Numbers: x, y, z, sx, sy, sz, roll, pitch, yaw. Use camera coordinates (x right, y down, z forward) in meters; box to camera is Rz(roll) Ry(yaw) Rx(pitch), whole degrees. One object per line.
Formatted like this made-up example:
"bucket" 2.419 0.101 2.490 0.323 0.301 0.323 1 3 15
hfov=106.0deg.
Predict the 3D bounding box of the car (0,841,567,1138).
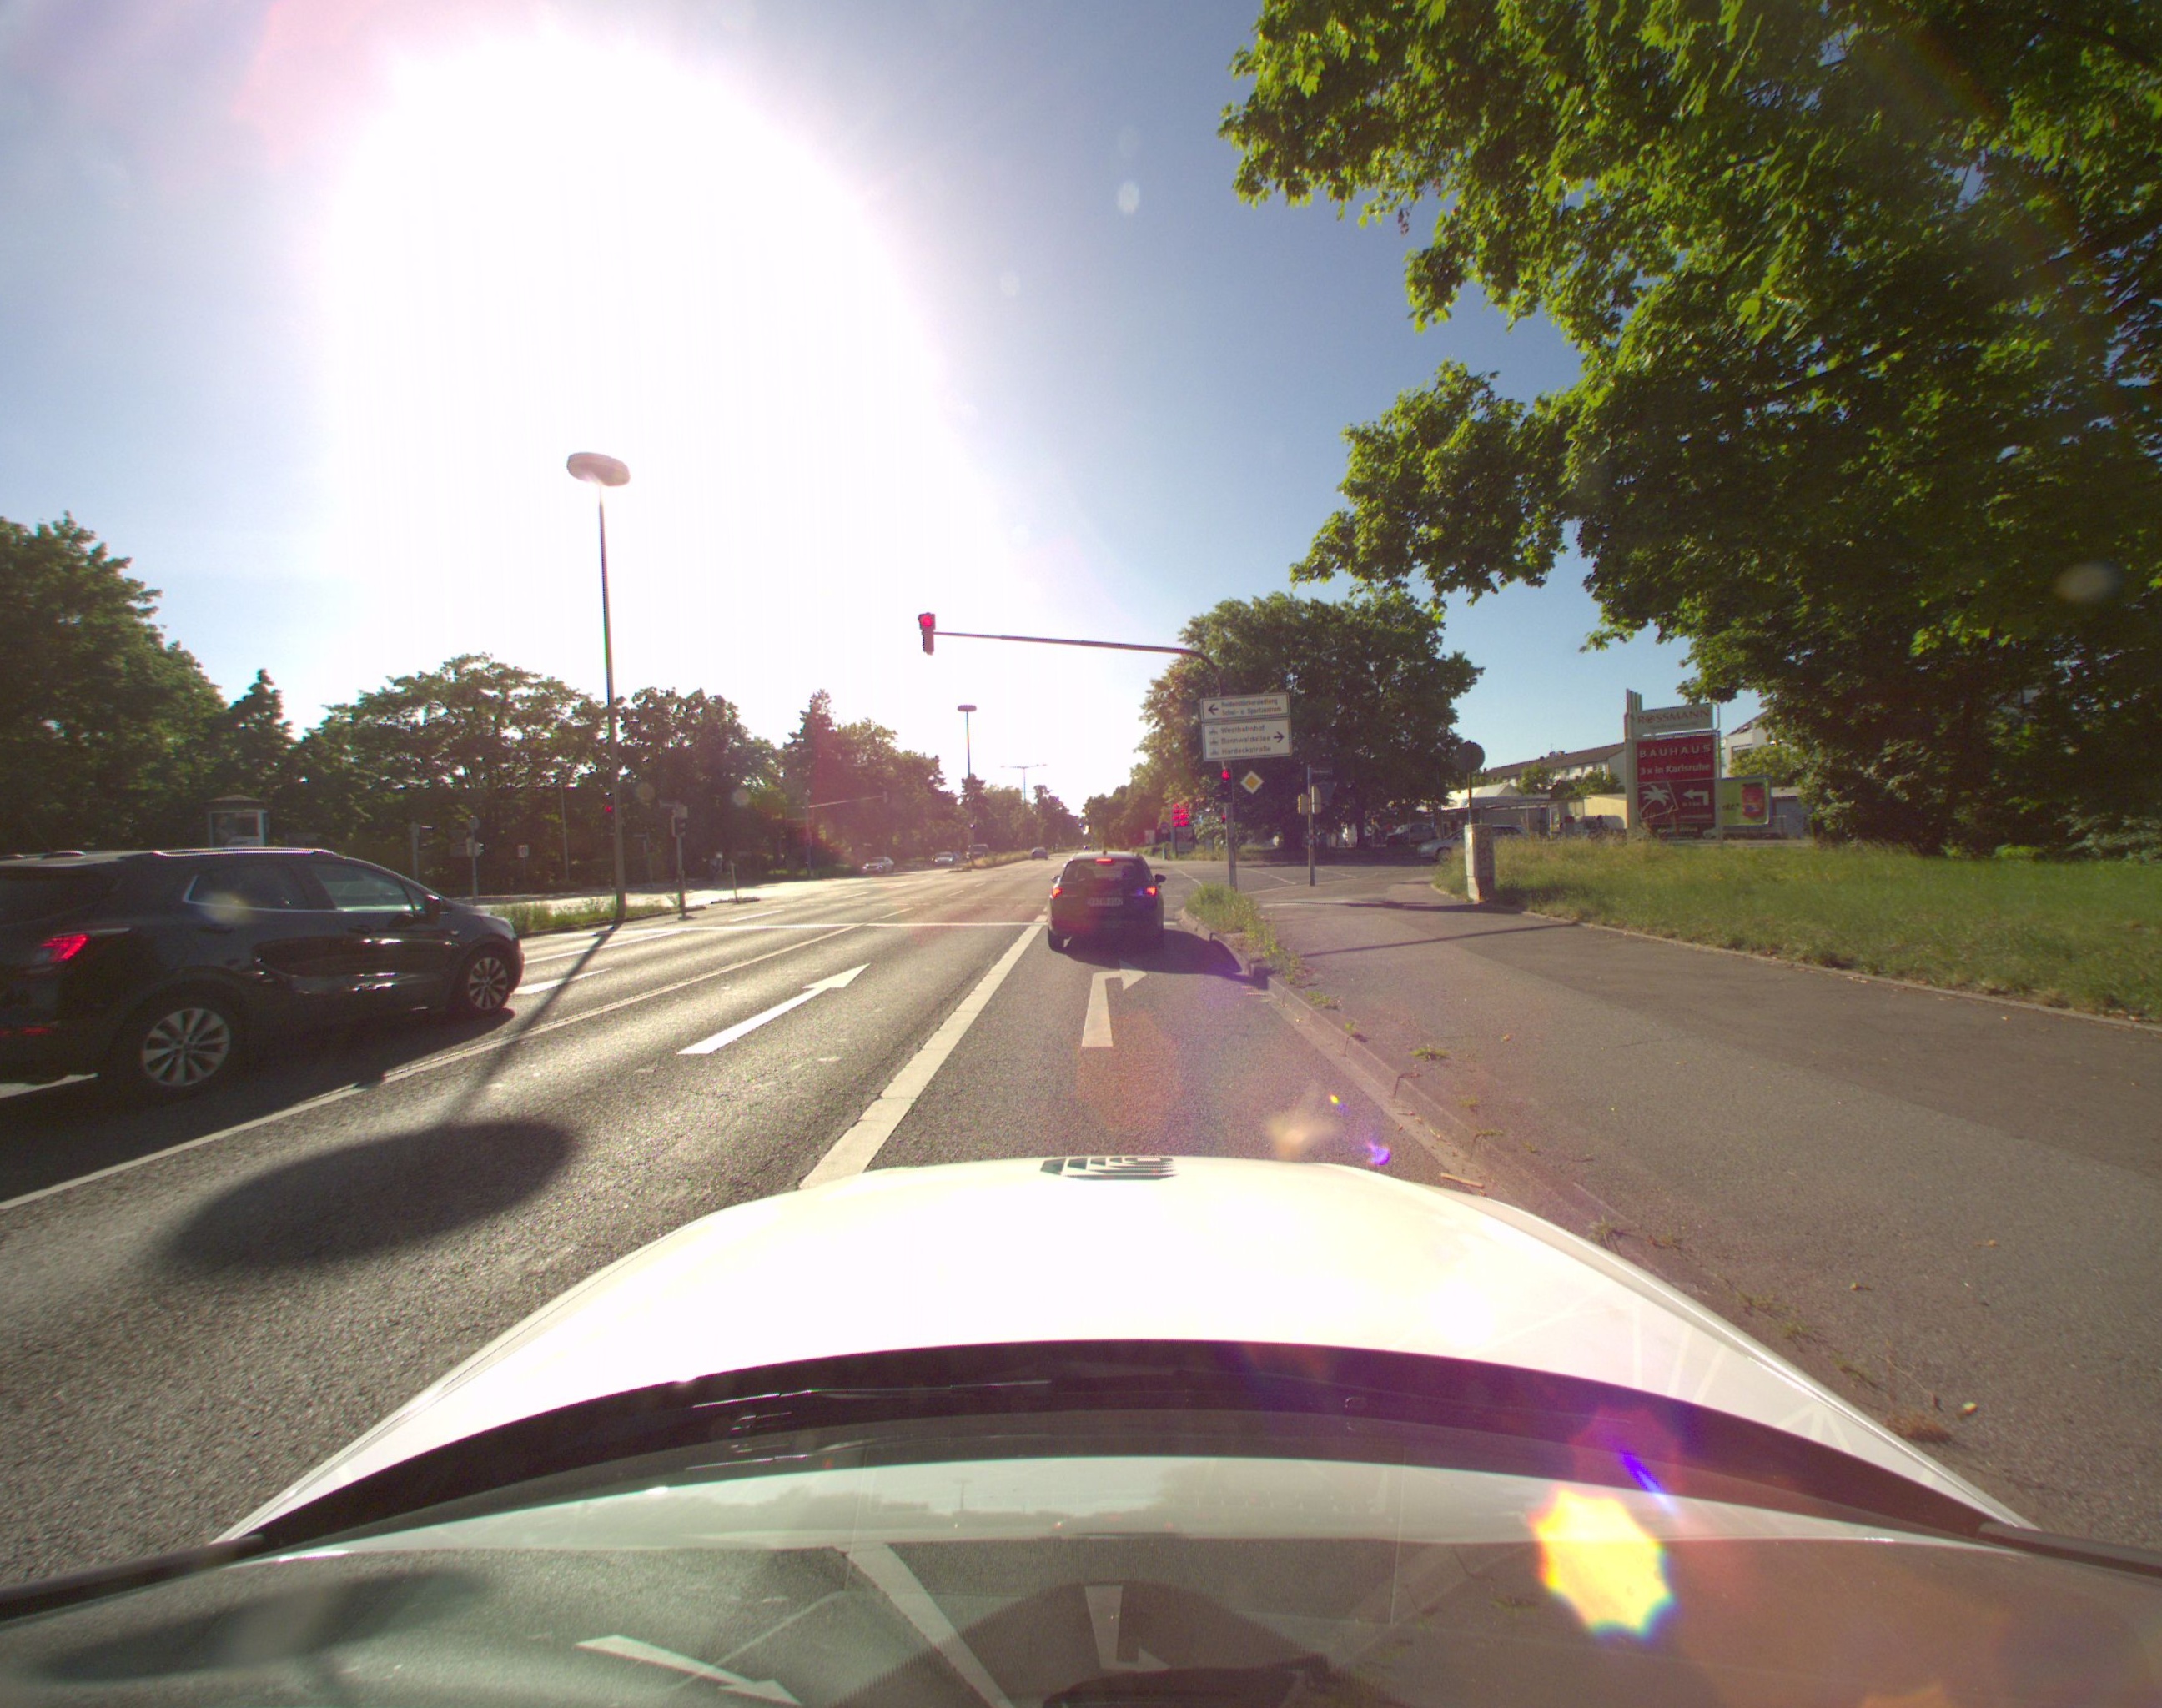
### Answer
"car" -6.567 0.768 6.724 1.689 1.632 4.419 -2 0 1

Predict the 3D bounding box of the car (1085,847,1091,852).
"car" 2.104 -1.267 251.893 1.727 1.585 3.840 0 0 0

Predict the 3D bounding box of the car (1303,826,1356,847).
"car" 19.286 -1.328 63.230 3.860 1.563 1.787 0 0 -31

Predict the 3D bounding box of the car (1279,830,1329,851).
"car" 17.990 -1.078 65.746 3.730 1.685 1.690 0 0 -25

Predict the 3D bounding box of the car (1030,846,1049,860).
"car" -4.816 -0.140 94.725 1.882 1.552 4.001 -2 0 1

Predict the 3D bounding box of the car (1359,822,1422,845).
"car" 21.349 -1.397 56.208 3.846 1.482 1.794 0 0 -18

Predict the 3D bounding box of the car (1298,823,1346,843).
"car" 21.173 -1.864 71.641 3.701 1.685 1.703 0 0 -2

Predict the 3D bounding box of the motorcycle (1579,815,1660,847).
"motorcycle" 22.410 -0.936 33.953 2.703 1.270 0.838 0 0 17

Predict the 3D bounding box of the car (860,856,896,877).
"car" -17.371 1.039 69.909 1.857 1.684 4.262 0 0 2

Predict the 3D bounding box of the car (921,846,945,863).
"car" -18.185 0.054 100.247 1.986 1.749 4.002 -5 1 1

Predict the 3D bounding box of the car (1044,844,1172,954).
"car" 0.419 0.632 13.329 1.749 1.509 3.809 -2 0 1

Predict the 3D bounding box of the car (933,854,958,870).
"car" -14.476 0.834 87.087 1.857 1.684 4.001 0 0 2

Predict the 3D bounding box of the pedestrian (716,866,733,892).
"pedestrian" -26.039 1.803 59.465 0.842 1.835 0.550 -3 0 5

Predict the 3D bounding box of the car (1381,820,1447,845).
"car" 22.164 -1.419 54.181 3.846 1.611 1.794 0 0 -18

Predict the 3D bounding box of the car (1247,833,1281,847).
"car" 22.114 -1.692 98.449 3.701 1.685 1.703 0 0 -2

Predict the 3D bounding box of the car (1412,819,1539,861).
"car" 16.958 -0.592 35.259 4.587 1.574 2.007 -2 -1 12

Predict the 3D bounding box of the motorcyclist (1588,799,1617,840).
"motorcyclist" 21.849 -1.429 34.127 0.853 1.680 0.838 0 0 17

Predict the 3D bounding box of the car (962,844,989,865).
"car" -10.345 0.074 79.945 1.986 2.013 4.001 0 0 1
